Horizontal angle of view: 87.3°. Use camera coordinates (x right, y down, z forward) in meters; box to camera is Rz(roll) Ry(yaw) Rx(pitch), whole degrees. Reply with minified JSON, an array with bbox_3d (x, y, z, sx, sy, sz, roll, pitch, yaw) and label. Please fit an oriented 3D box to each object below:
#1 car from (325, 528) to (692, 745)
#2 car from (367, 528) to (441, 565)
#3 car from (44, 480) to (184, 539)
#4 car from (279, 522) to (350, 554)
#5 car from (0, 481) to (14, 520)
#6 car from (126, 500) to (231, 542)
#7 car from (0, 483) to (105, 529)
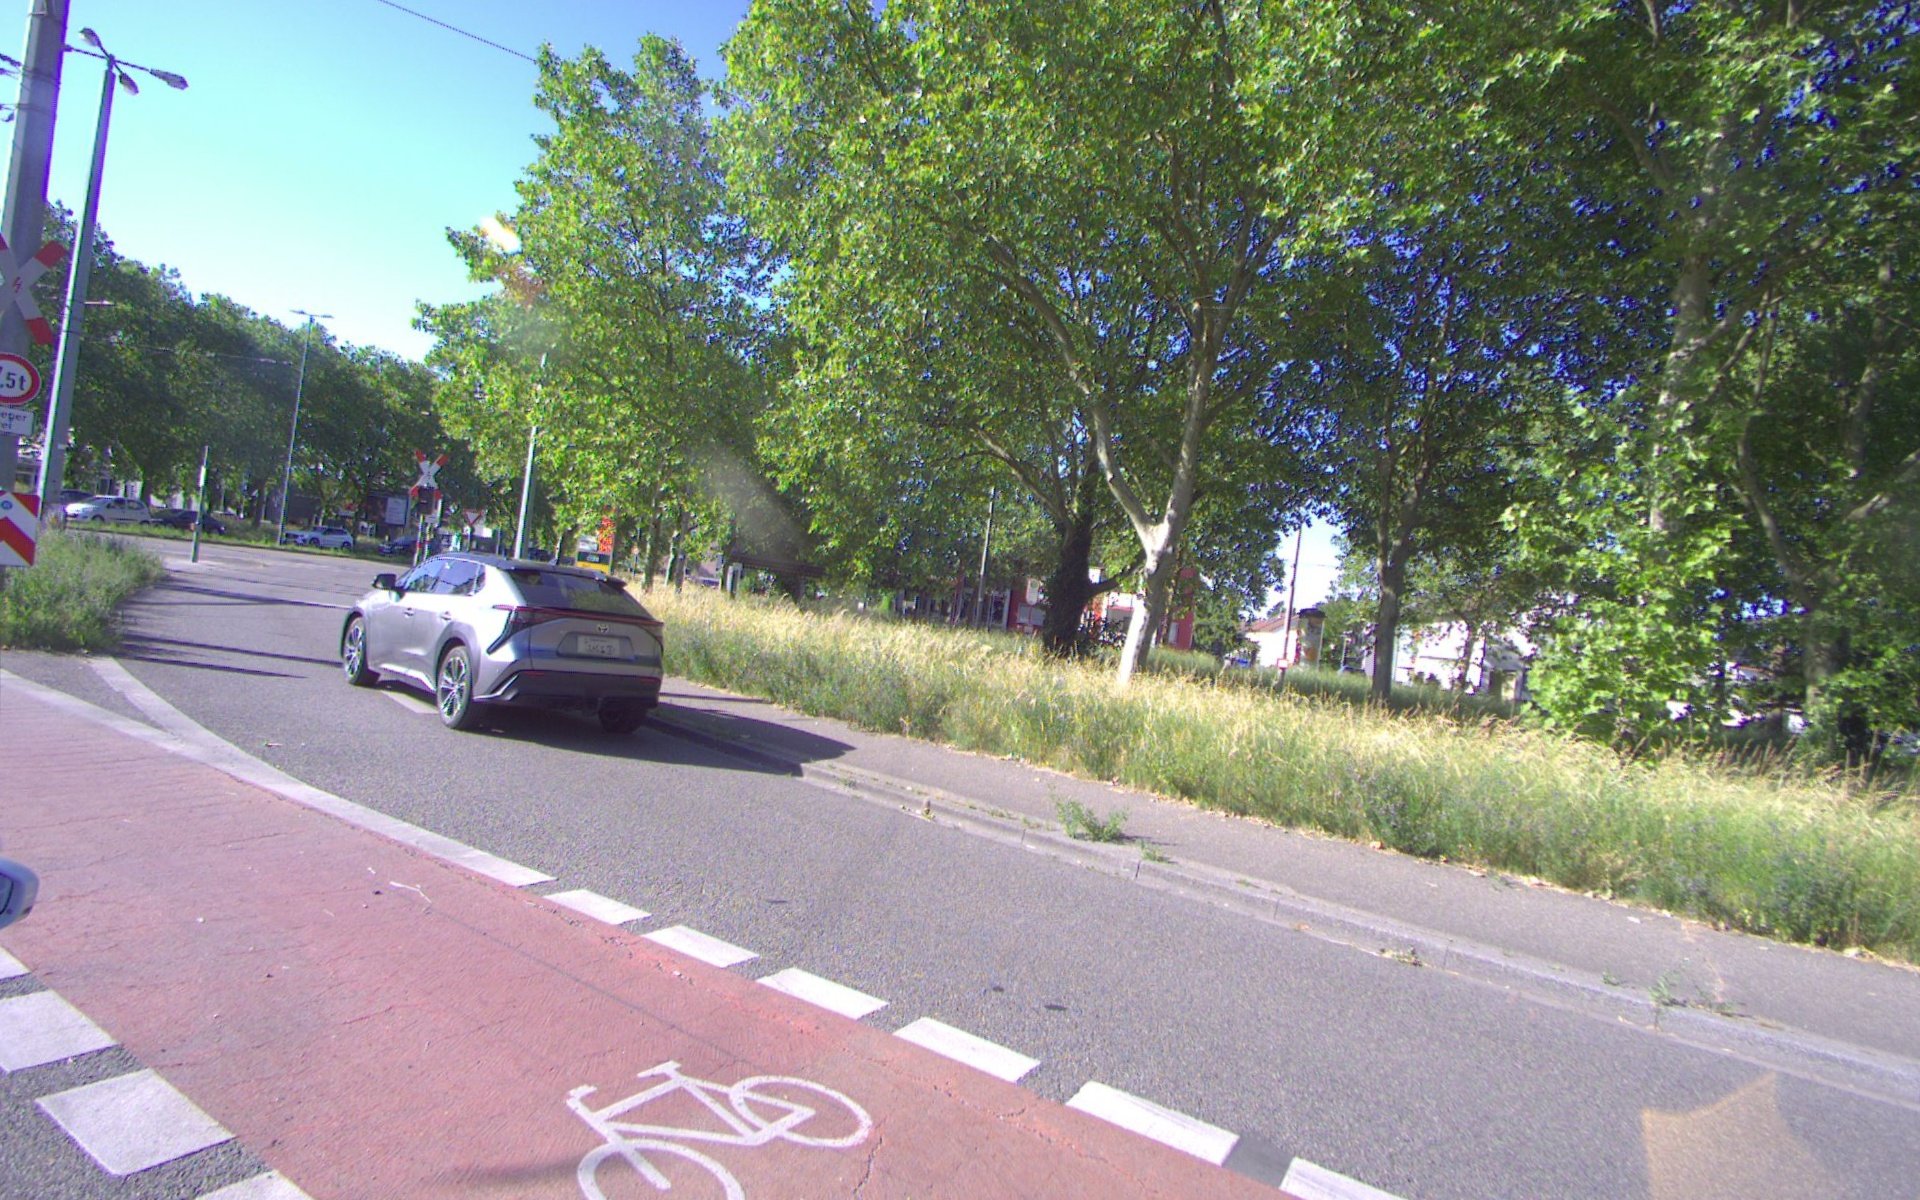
[{"bbox_3d":[-4.882,0.279,10.527,4.436,1.651,1.763,7,0,42],"label":"car"},{"bbox_3d":[-35.316,-3.347,64.020,1.821,1.796,4.217,7,-1,7],"label":"car"},{"bbox_3d":[-40.471,-4.288,48.294,1.962,2.038,4.907,7,-1,9],"label":"car"},{"bbox_3d":[-41.779,-4.007,65.190,1.563,1.519,4.003,7,-1,7],"label":"car"},{"bbox_3d":[-41.045,-4.324,40.570,1.575,1.549,4.002,7,0,9],"label":"car"},{"bbox_3d":[-42.934,-4.308,55.418,1.661,1.593,4.528,7,-1,9],"label":"car"},{"bbox_3d":[-44.090,-4.531,48.865,1.462,1.589,3.758,7,-1,9],"label":"car"}]
